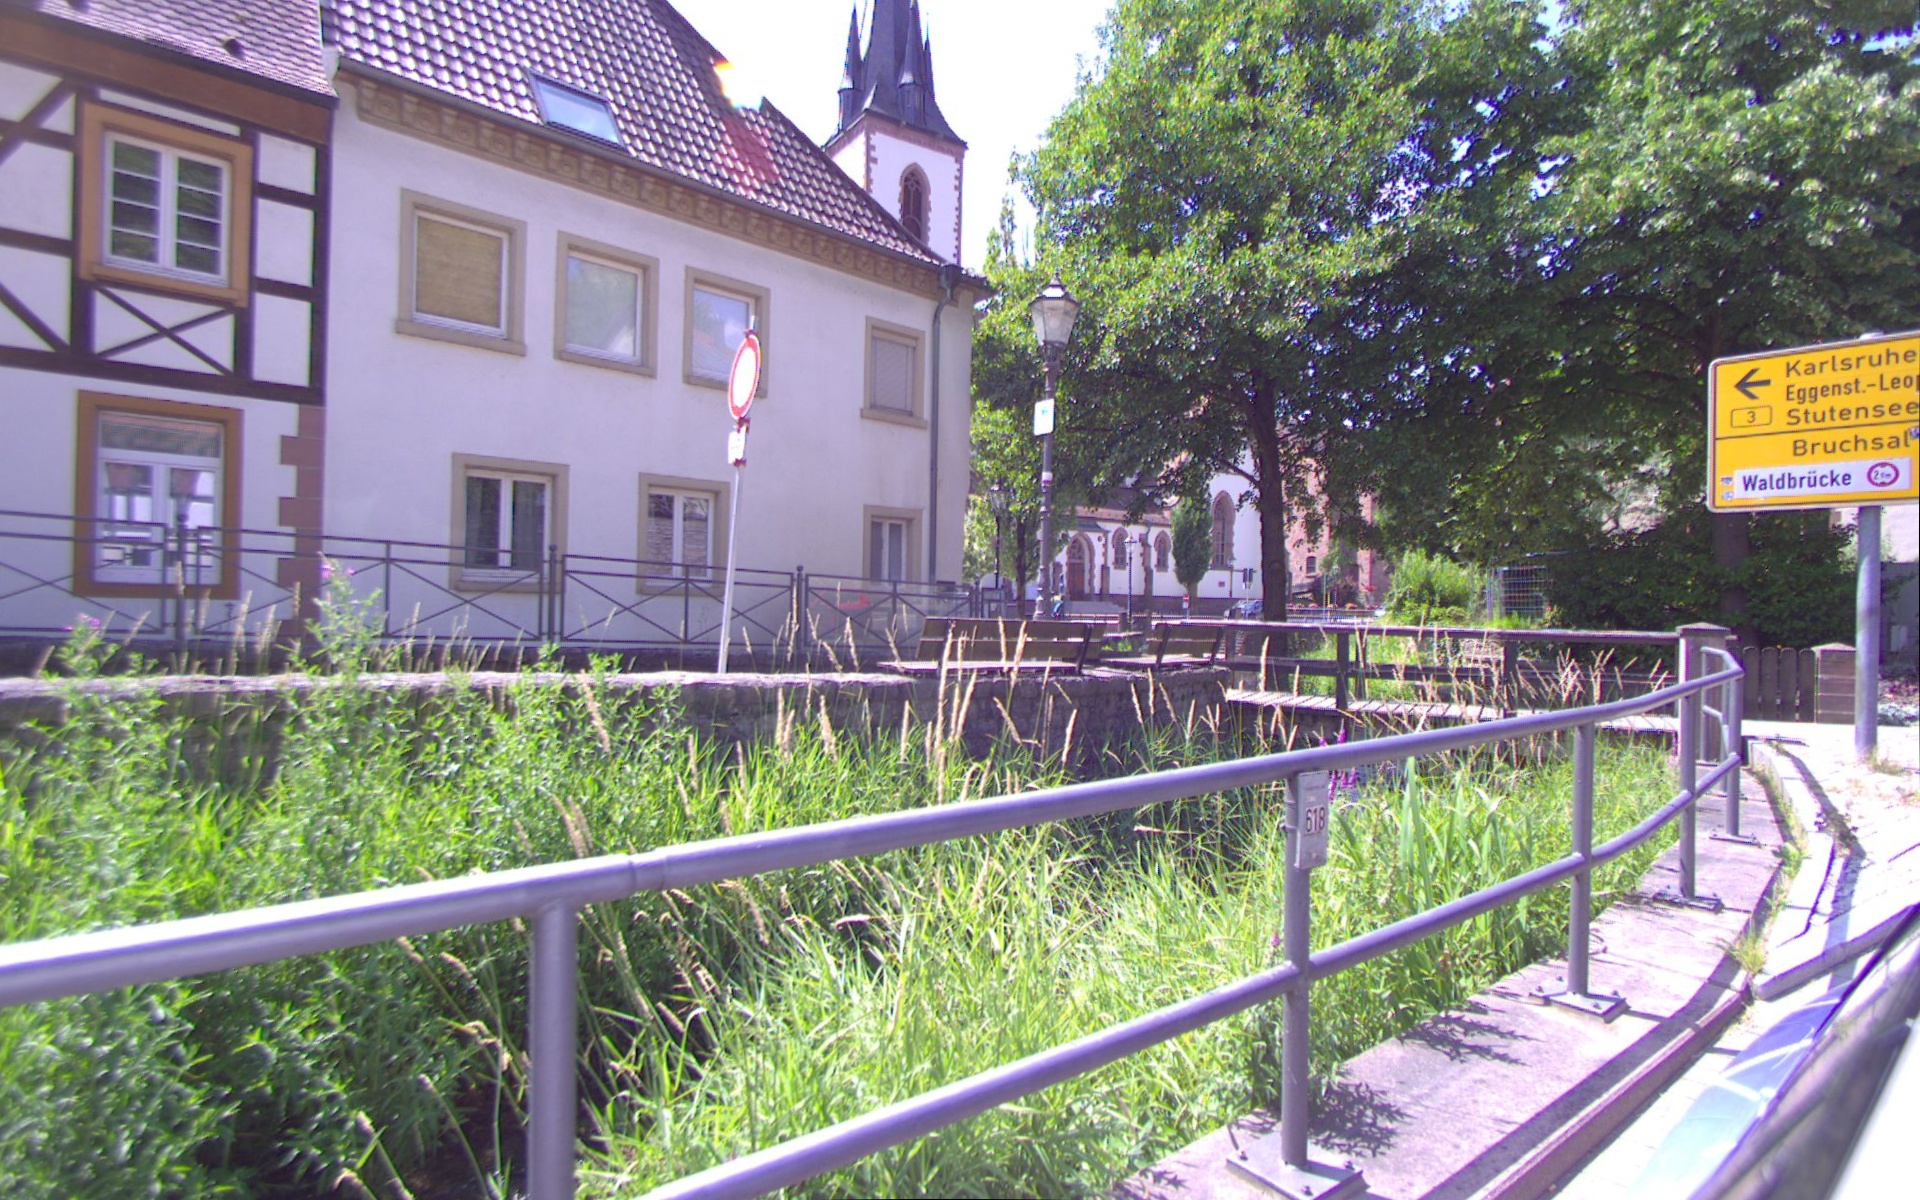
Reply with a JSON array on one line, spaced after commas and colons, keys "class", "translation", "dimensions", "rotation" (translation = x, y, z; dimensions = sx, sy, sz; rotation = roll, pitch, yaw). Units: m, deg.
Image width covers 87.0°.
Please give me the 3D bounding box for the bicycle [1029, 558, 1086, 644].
[{"class": "bicycle", "translation": [2.507, 0.023, 25.718], "dimensions": [0.773, 2.039, 2.650], "rotation": [-3, -1, 19]}]
